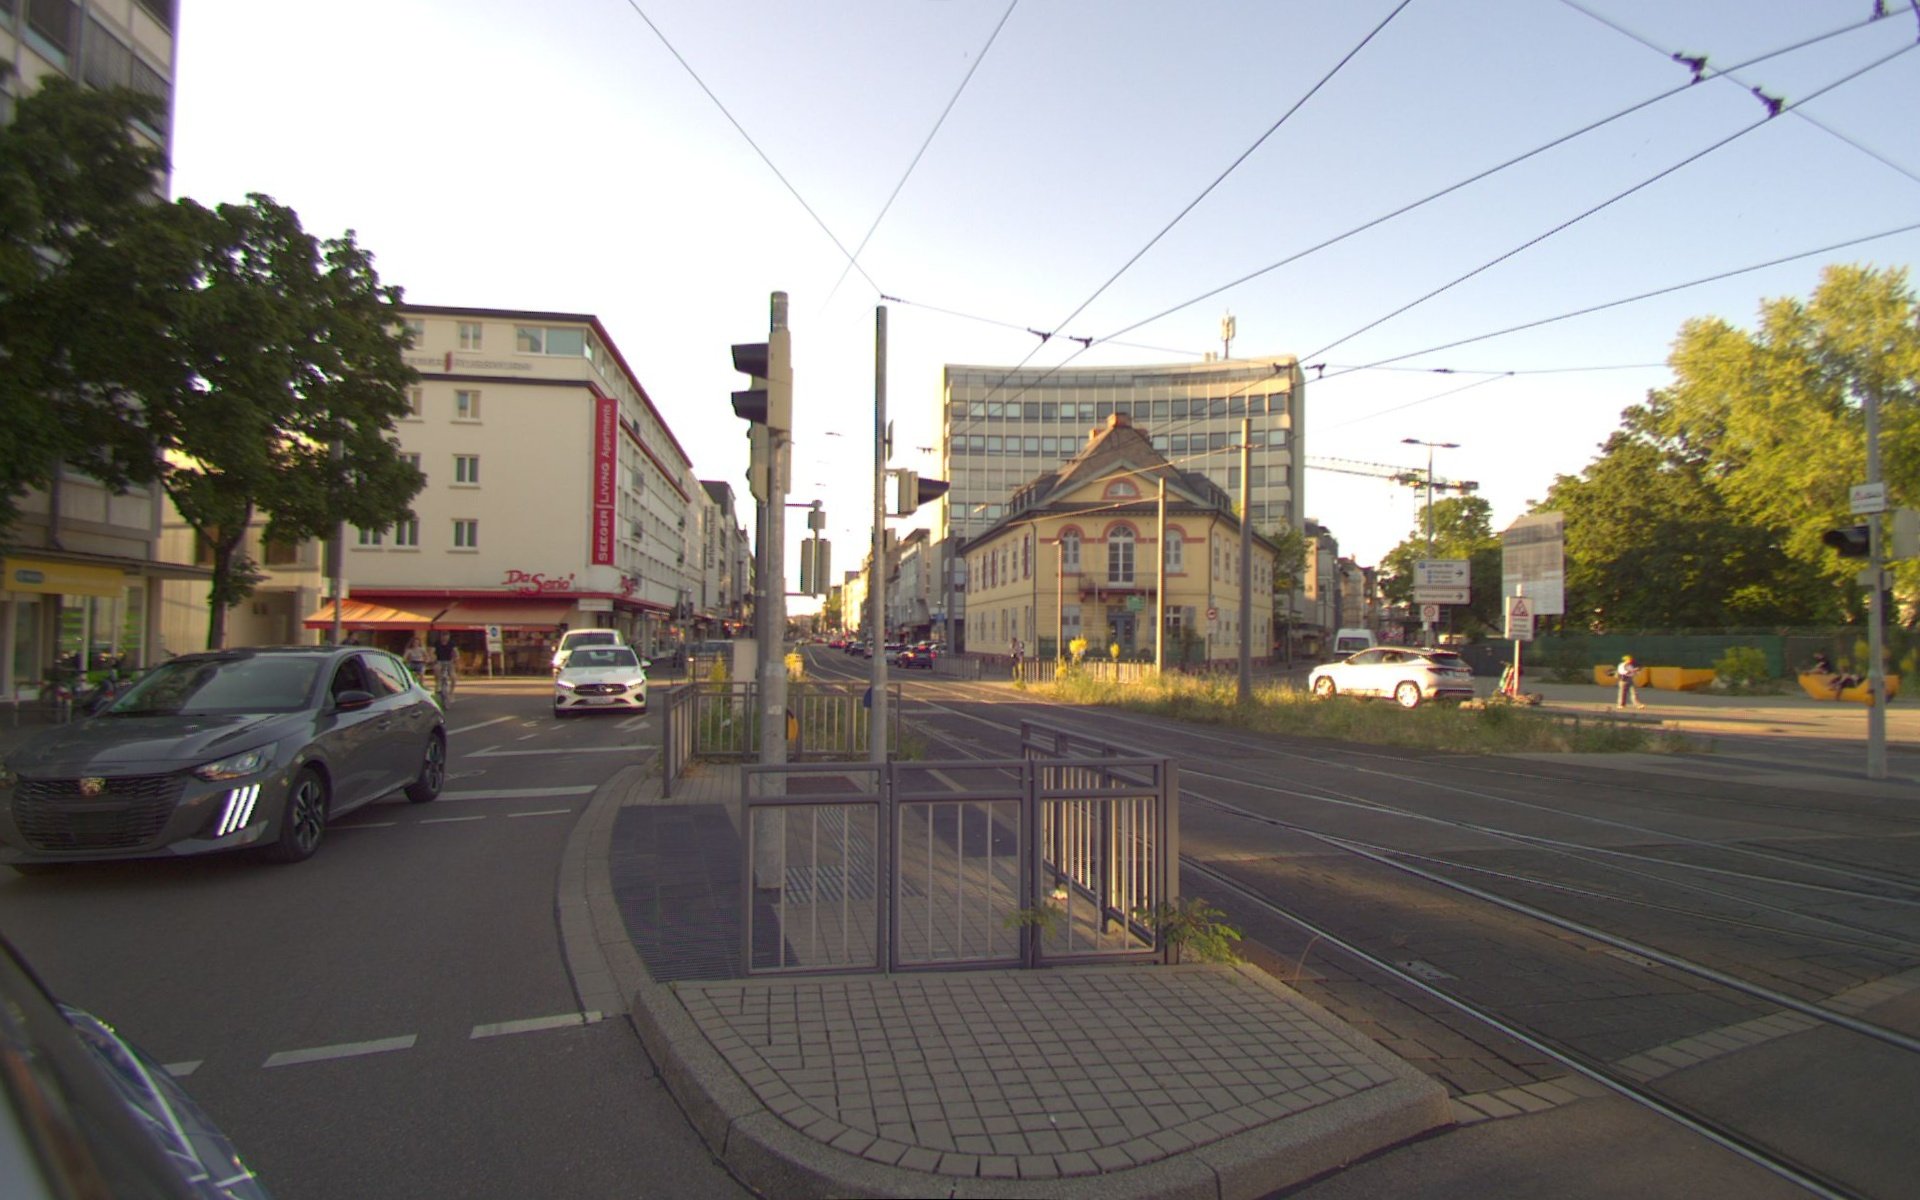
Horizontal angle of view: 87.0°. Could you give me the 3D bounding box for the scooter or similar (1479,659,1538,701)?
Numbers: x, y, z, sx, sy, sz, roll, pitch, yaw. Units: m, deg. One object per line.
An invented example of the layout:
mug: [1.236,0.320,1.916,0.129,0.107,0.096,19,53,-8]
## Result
scooter or similar: [17.797,2.592,32.848,1.648,1.302,0.456,-1,-3,33]

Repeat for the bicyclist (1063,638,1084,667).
bicyclist: [4.984,2.289,44.472,0.725,1.267,0.662,-1,-3,26]

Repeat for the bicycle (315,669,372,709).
bicycle: [-15.194,2.175,25.002,0.664,0.908,1.694,1,-3,-12]

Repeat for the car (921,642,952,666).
car: [-1.734,3.883,73.289,1.709,1.721,3.447,1,-3,-11]

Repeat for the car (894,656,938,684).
car: [-2.795,4.329,63.005,1.967,1.528,4.425,-1,-2,-13]

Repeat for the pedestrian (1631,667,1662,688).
pedestrian: [30.495,3.437,44.944,0.552,0.900,0.984,2,-3,-28]

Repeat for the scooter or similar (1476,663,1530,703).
scooter or similar: [18.014,2.726,33.555,1.522,1.269,0.605,-1,-3,33]

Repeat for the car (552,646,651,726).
car: [-7.629,1.772,21.700,1.785,1.460,4.577,-1,-3,-18]

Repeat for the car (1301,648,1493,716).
car: [11.834,2.178,27.745,1.916,1.673,4.549,2,-3,-31]

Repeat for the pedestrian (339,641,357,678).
pedestrian: [-24.229,2.362,40.060,0.500,1.460,0.508,3,-3,-36]

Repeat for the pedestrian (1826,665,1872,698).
pedestrian: [31.636,2.897,36.008,0.975,1.166,0.736,1,-3,-7]

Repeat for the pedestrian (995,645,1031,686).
pedestrian: [2.000,2.466,38.271,1.039,1.514,0.995,-1,-3,28]

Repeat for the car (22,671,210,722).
car: [-27.058,3.057,32.601,1.731,1.447,4.324,-3,-4,32]

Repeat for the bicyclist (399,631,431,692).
bicyclist: [-13.761,1.548,25.555,0.579,1.498,0.720,3,-4,-36]

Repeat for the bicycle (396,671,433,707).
bicycle: [-13.779,2.219,25.538,0.590,0.831,1.744,2,-3,-36]

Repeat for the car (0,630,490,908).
car: [-5.354,1.034,7.926,1.886,1.515,4.712,1,-3,-10]

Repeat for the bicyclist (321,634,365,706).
bicyclist: [-15.165,1.718,24.900,0.655,1.741,0.812,1,-3,-12]

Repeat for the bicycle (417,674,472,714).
bicycle: [-11.939,2.154,23.420,0.606,0.831,1.807,3,-4,-44]

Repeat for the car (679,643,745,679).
car: [-11.479,2.806,47.150,1.972,1.586,4.301,1,-3,1]

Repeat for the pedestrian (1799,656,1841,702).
pedestrian: [31.702,2.905,37.319,0.809,1.678,0.765,1,-3,-7]

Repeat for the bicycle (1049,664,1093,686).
bicycle: [4.874,3.274,44.457,1.787,0.899,0.674,-1,-3,25]

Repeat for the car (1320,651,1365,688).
car: [17.310,3.083,45.693,1.773,1.555,4.257,0,-3,23]

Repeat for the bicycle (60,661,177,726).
bicycle: [-15.965,1.771,19.226,1.611,1.194,0.539,2,-3,-8]

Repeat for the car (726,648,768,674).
car: [-12.881,3.666,61.376,2.009,1.452,4.667,1,-3,-6]

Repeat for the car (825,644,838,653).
car: [-23.486,8.827,184.770,1.819,1.519,4.010,1,-3,-14]

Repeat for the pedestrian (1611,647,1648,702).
pedestrian: [20.021,2.224,30.274,0.679,1.626,0.597,1,-3,-5]

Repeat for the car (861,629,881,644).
car: [-11.681,4.823,133.079,1.966,1.962,4.010,1,-3,-14]

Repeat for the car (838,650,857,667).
car: [-14.119,7.305,126.680,1.967,2.005,4.128,1,-3,-11]

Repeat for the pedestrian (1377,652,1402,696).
pedestrian: [17.495,3.004,41.225,0.875,1.737,0.821,0,-3,29]

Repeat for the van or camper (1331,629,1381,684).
van or camper: [21.767,3.081,55.469,2.073,2.796,6.391,-1,-3,26]

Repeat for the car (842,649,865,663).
car: [-11.403,5.959,107.887,1.986,1.439,4.666,0,-3,-11]

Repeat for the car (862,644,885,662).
car: [-7.911,4.812,92.775,1.810,1.611,4.079,0,-3,-9]

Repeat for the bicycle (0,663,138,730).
bicycle: [-16.029,1.738,18.229,1.716,1.149,0.668,2,-3,-16]

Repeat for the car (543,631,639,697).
car: [-11.149,1.965,30.943,1.968,1.852,4.886,0,-4,-10]

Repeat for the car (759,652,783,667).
car: [-20.711,6.518,111.152,2.171,1.571,4.284,1,-3,-5]

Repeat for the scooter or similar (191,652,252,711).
scooter or similar: [-17.186,1.879,23.556,1.272,1.332,0.511,-1,-3,22]

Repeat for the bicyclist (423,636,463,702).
bicyclist: [-11.970,1.595,23.437,0.605,1.498,0.719,3,-4,-44]

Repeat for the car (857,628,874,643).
car: [-14.270,5.345,152.178,1.966,2.029,4.010,-1,-2,-14]

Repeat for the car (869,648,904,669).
car: [-5.385,4.225,73.478,1.883,1.421,4.348,1,-3,-13]

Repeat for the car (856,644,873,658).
car: [-13.812,7.433,146.709,1.967,1.963,4.009,1,-4,-12]
